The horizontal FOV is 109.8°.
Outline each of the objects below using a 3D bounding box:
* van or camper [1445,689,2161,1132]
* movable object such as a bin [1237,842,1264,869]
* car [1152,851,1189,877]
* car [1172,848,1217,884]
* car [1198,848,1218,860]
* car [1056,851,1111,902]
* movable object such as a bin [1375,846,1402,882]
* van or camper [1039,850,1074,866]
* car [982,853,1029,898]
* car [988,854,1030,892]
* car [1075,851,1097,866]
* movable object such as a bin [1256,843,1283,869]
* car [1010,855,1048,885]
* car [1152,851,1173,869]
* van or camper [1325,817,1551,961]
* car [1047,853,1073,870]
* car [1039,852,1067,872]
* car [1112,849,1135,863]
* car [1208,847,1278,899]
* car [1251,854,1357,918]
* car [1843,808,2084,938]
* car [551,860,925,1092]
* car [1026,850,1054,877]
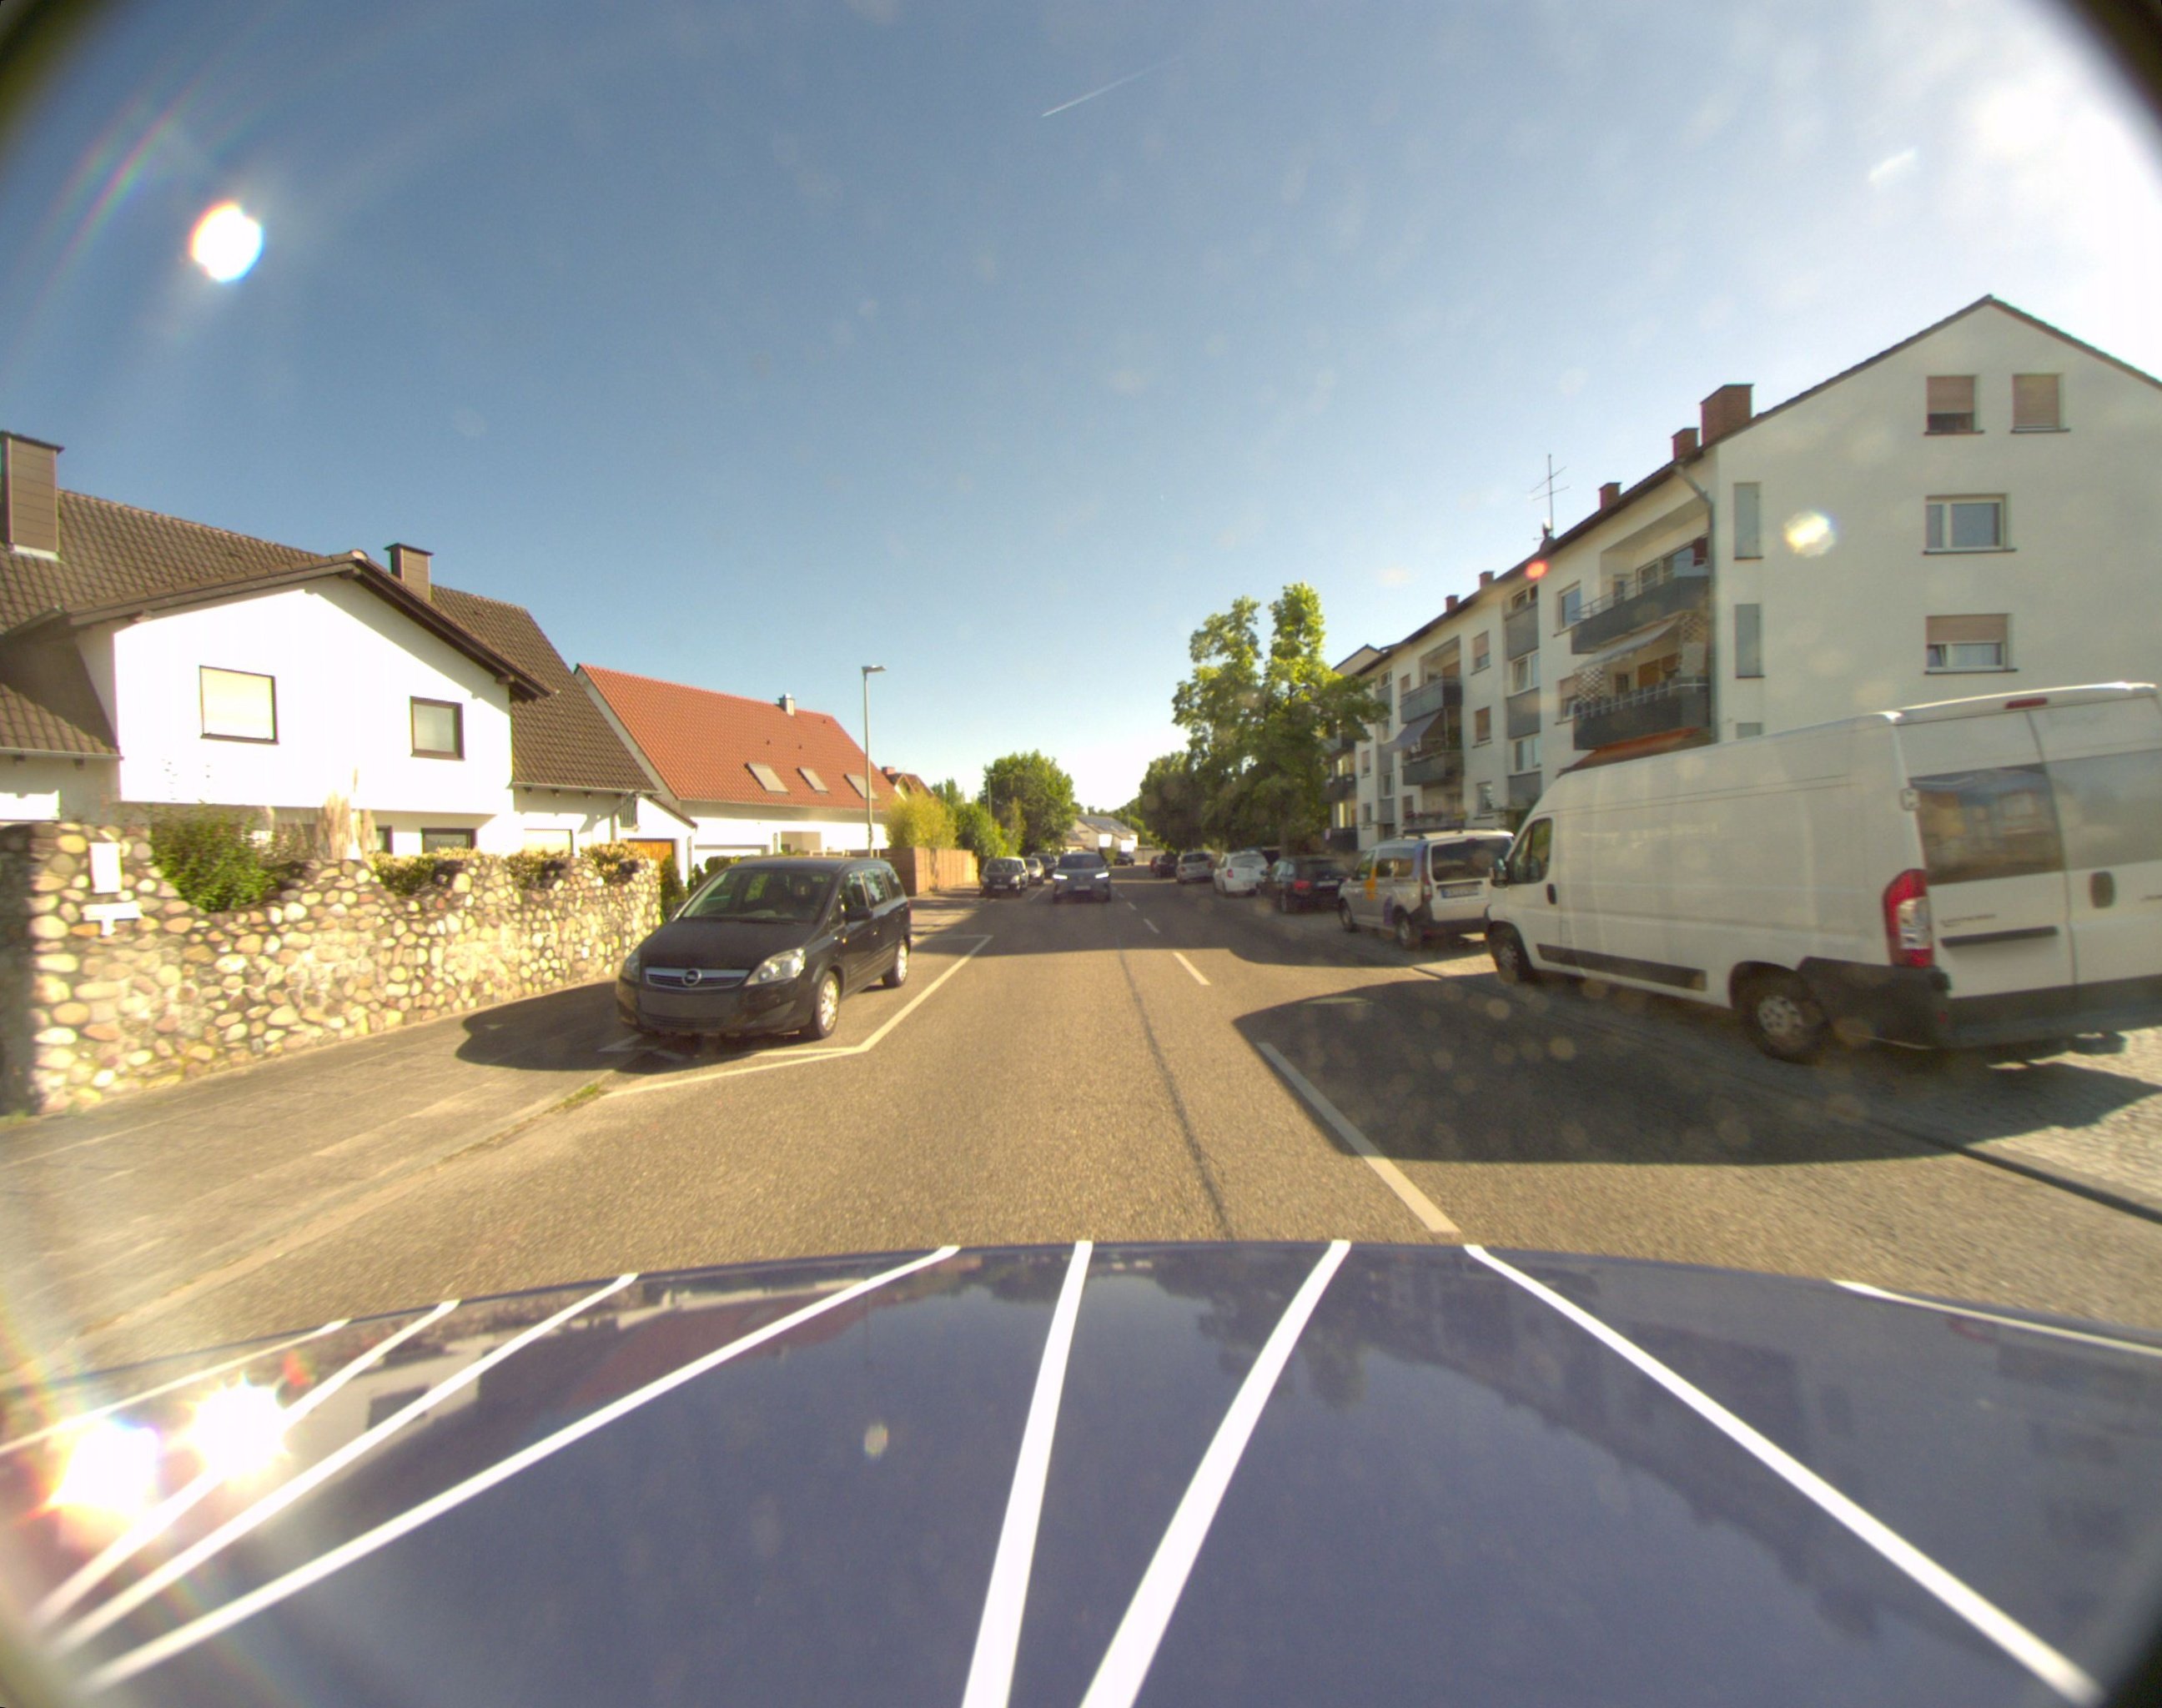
[{"bbox_3d":[5.956,0.307,7.252,2.128,2.475,5.555,-5,0,0],"label":"van or camper"},{"bbox_3d":[10.738,0.102,48.259,1.416,1.653,1.267,-2,0,2],"label":"movable object such as a bin"},{"bbox_3d":[5.960,0.623,51.198,1.726,1.485,4.543,-7,0,-1],"label":"car"},{"bbox_3d":[5.839,0.573,39.391,1.726,1.583,3.909,-7,0,3],"label":"car"},{"bbox_3d":[17.478,0.014,104.531,1.649,1.530,3.710,-1,0,26],"label":"car"},{"bbox_3d":[0.056,0.743,26.667,1.777,1.624,3.703,-1,0,-1],"label":"car"},{"bbox_3d":[11.159,0.342,27.585,0.688,1.271,0.672,-2,1,3],"label":"movable object such as a bin"},{"bbox_3d":[-3.080,0.504,94.162,3.843,2.002,1.954,-1,0,28],"label":"van or camper"},{"bbox_3d":[-2.947,0.797,30.262,1.661,1.591,3.815,-2,0,-3],"label":"car"},{"bbox_3d":[-3.302,0.835,35.363,1.729,1.591,3.815,-2,0,-3],"label":"car"},{"bbox_3d":[0.571,0.479,85.843,1.635,1.565,3.707,1,1,14],"label":"car"},{"bbox_3d":[11.367,0.121,45.804,1.293,1.534,1.327,-2,0,2],"label":"movable object such as a bin"},{"bbox_3d":[-2.784,0.844,41.087,1.646,1.485,3.889,-1,0,2],"label":"car"},{"bbox_3d":[7.459,0.543,69.276,1.660,1.485,3.911,-5,0,9],"label":"car"},{"bbox_3d":[5.904,0.504,13.252,1.882,2.002,4.279,-3,0,1],"label":"van or camper"},{"bbox_3d":[-2.038,0.675,73.838,1.656,1.554,4.468,-1,0,9],"label":"car"},{"bbox_3d":[-2.359,0.665,65.121,1.766,1.554,4.664,-1,0,6],"label":"car"},{"bbox_3d":[5.628,0.218,100.015,1.774,1.727,3.710,2,1,22],"label":"car"},{"bbox_3d":[5.638,0.610,26.886,1.697,1.557,3.907,-5,0,3],"label":"car"},{"bbox_3d":[5.828,0.776,20.358,1.613,1.427,4.313,-3,0,2],"label":"car"},{"bbox_3d":[12.473,0.185,11.036,1.610,1.505,4.397,-2,0,41],"label":"car"},{"bbox_3d":[-3.052,0.949,7.920,1.780,1.649,4.303,-2,0,2],"label":"car"},{"bbox_3d":[-2.893,0.661,53.856,1.747,1.802,4.429,-1,0,-1],"label":"car"}]
